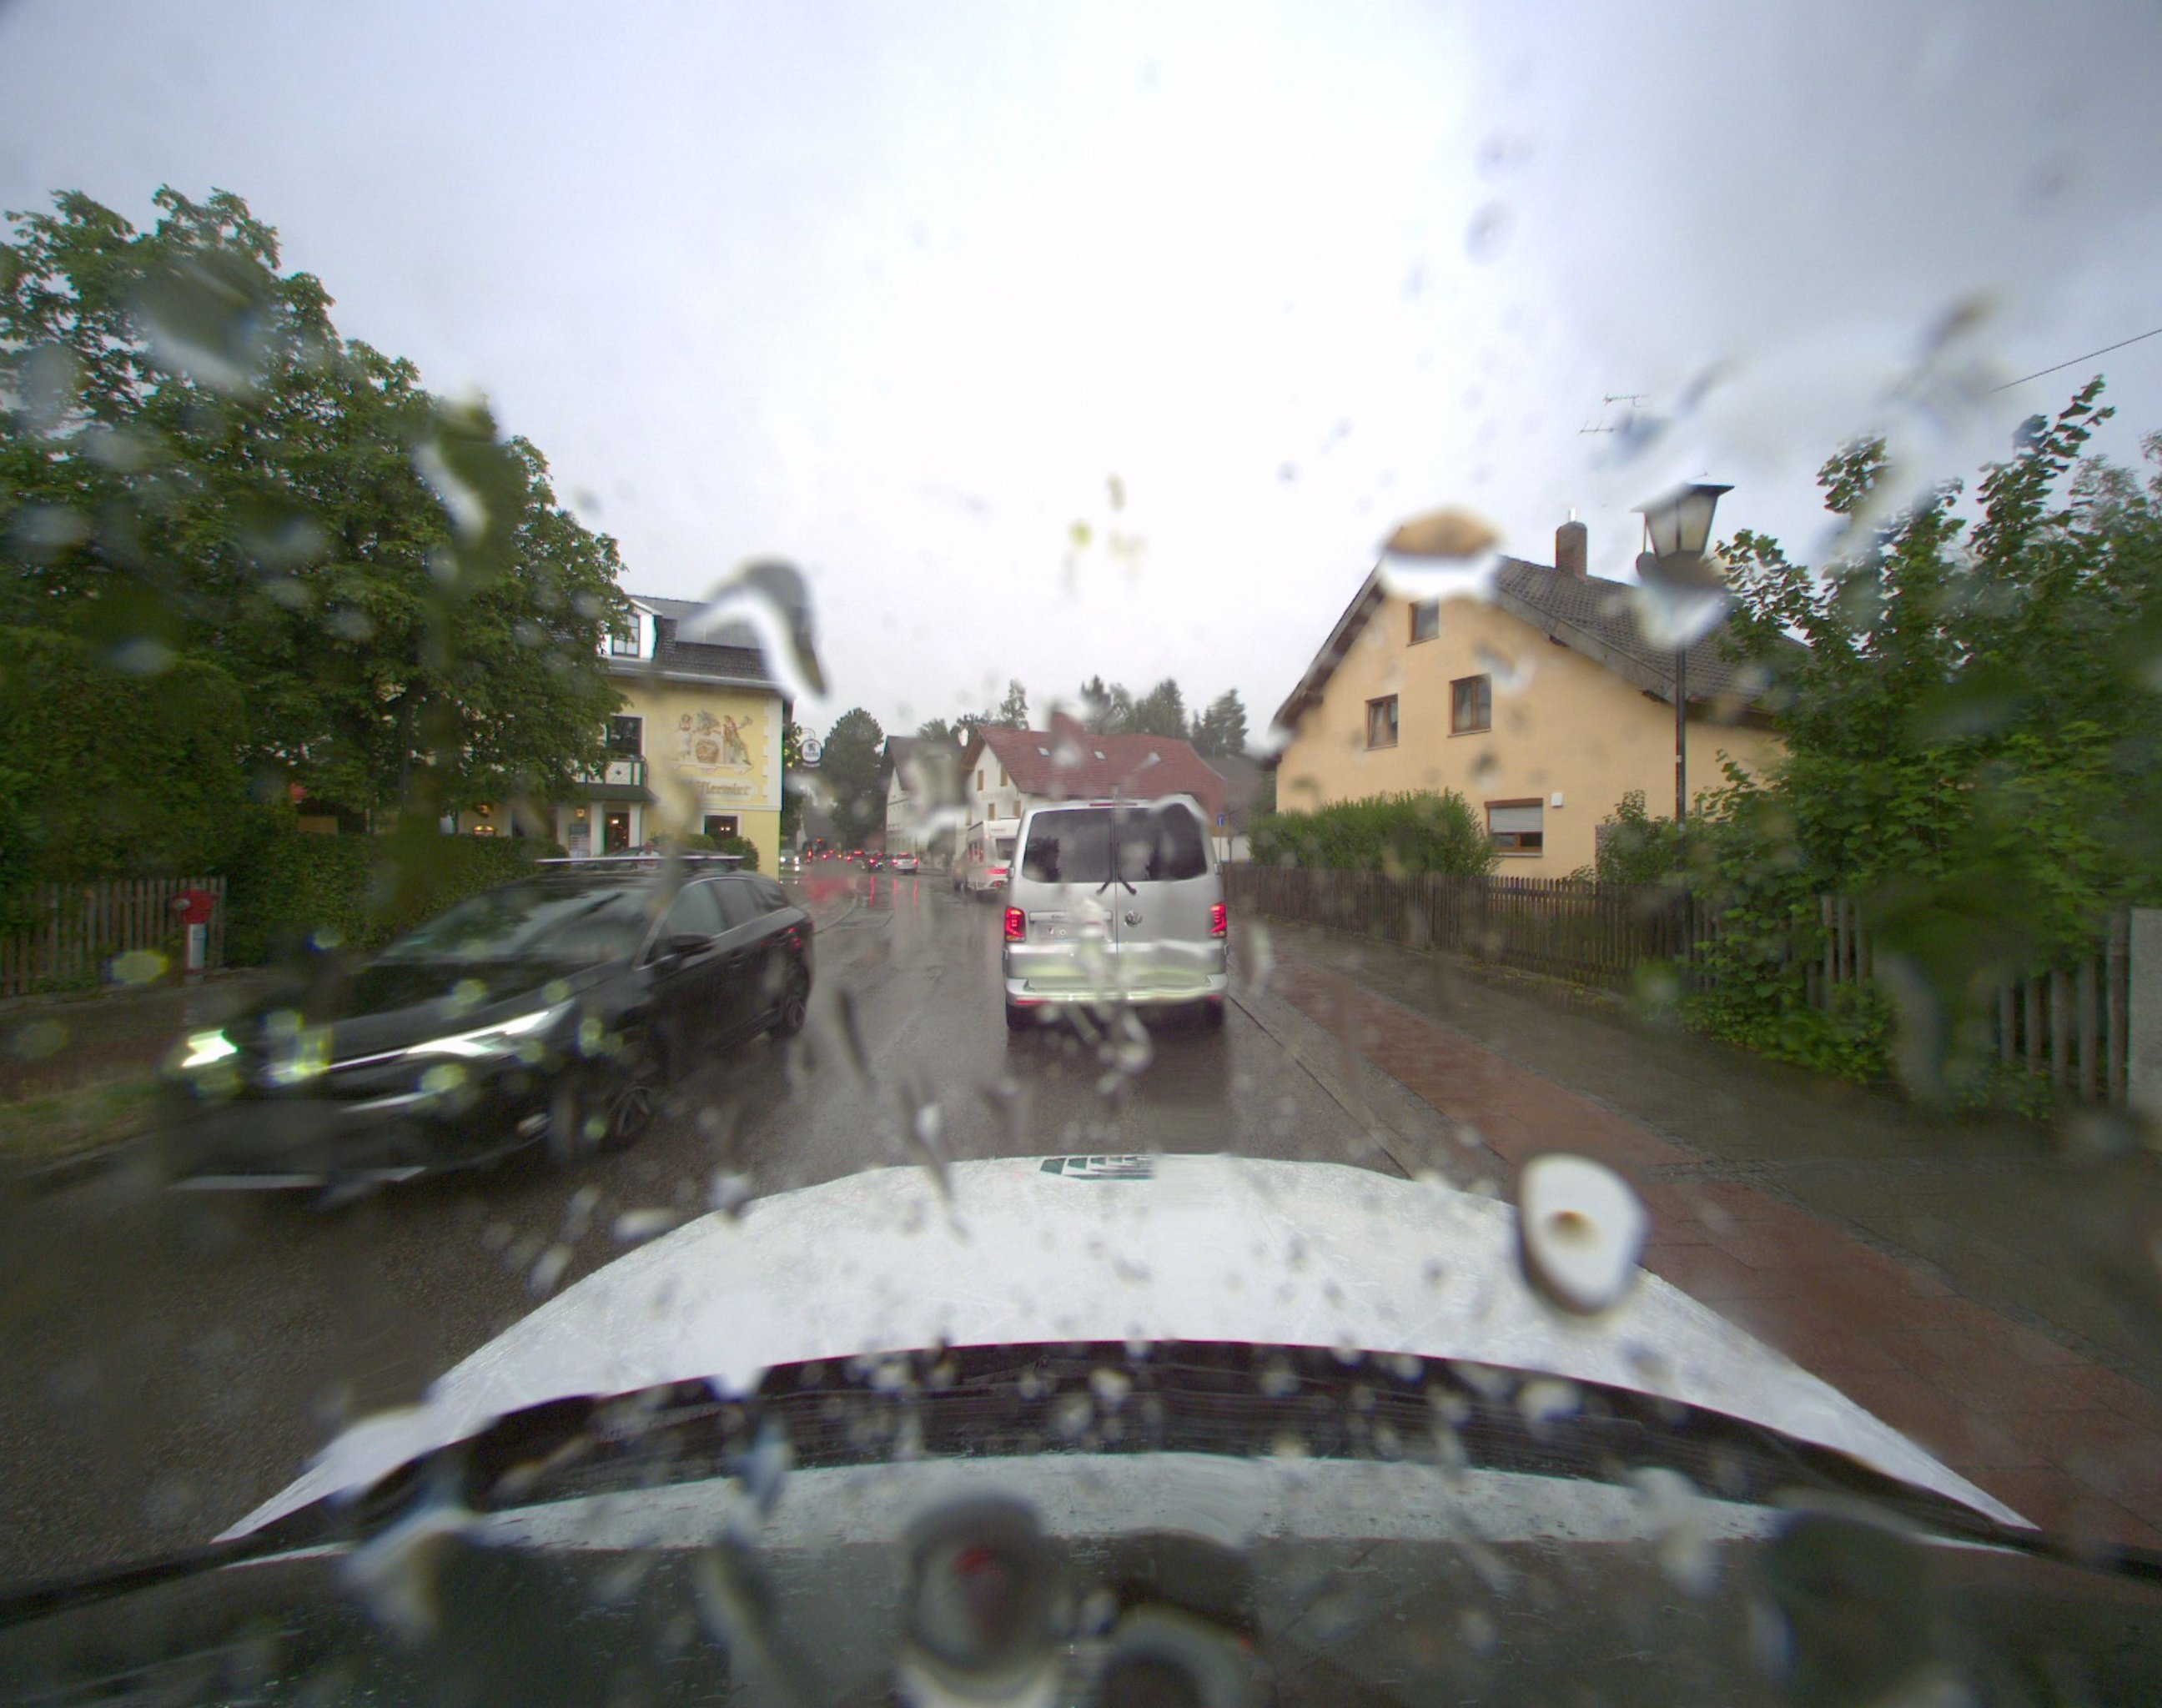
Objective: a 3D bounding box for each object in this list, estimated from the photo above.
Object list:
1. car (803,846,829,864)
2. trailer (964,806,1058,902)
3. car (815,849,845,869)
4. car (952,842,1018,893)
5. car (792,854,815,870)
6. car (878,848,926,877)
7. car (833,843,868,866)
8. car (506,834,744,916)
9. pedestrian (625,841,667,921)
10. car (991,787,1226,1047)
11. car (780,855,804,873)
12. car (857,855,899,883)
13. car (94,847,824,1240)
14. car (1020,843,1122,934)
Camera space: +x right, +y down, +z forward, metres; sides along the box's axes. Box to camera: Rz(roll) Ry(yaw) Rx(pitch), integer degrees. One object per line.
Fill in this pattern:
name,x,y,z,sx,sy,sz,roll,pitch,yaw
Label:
car,-29.432,0.134,90.417,2.179,1.899,4.974,1,0,-25
trailer,-2.540,-0.007,27.711,2.274,2.904,6.103,-1,0,-14
car,-24.699,0.450,80.010,2.179,1.899,4.974,1,0,-25
car,-3.994,0.511,33.164,2.057,1.899,5.151,-1,0,-14
car,-34.157,0.986,100.140,2.179,1.899,4.974,1,0,-25
car,-12.194,0.585,55.343,2.179,1.899,4.973,1,-1,-25
car,-19.736,0.018,69.590,2.179,1.899,4.974,1,0,-25
car,-10.319,0.494,18.805,4.499,1.567,1.824,4,1,-27
pedestrian,-9.442,0.575,17.683,0.489,1.690,0.554,3,-1,1
car,0.307,0.484,8.775,1.769,1.962,5.077,-1,0,2
car,-29.184,0.979,82.169,1.932,1.744,4.157,-2,0,-25
car,-15.237,1.074,61.025,2.179,1.899,4.974,1,0,-25
car,-3.138,0.747,5.355,1.634,1.520,4.185,-1,0,-2
car,-0.351,0.604,17.271,1.706,1.584,4.676,-2,1,-6
